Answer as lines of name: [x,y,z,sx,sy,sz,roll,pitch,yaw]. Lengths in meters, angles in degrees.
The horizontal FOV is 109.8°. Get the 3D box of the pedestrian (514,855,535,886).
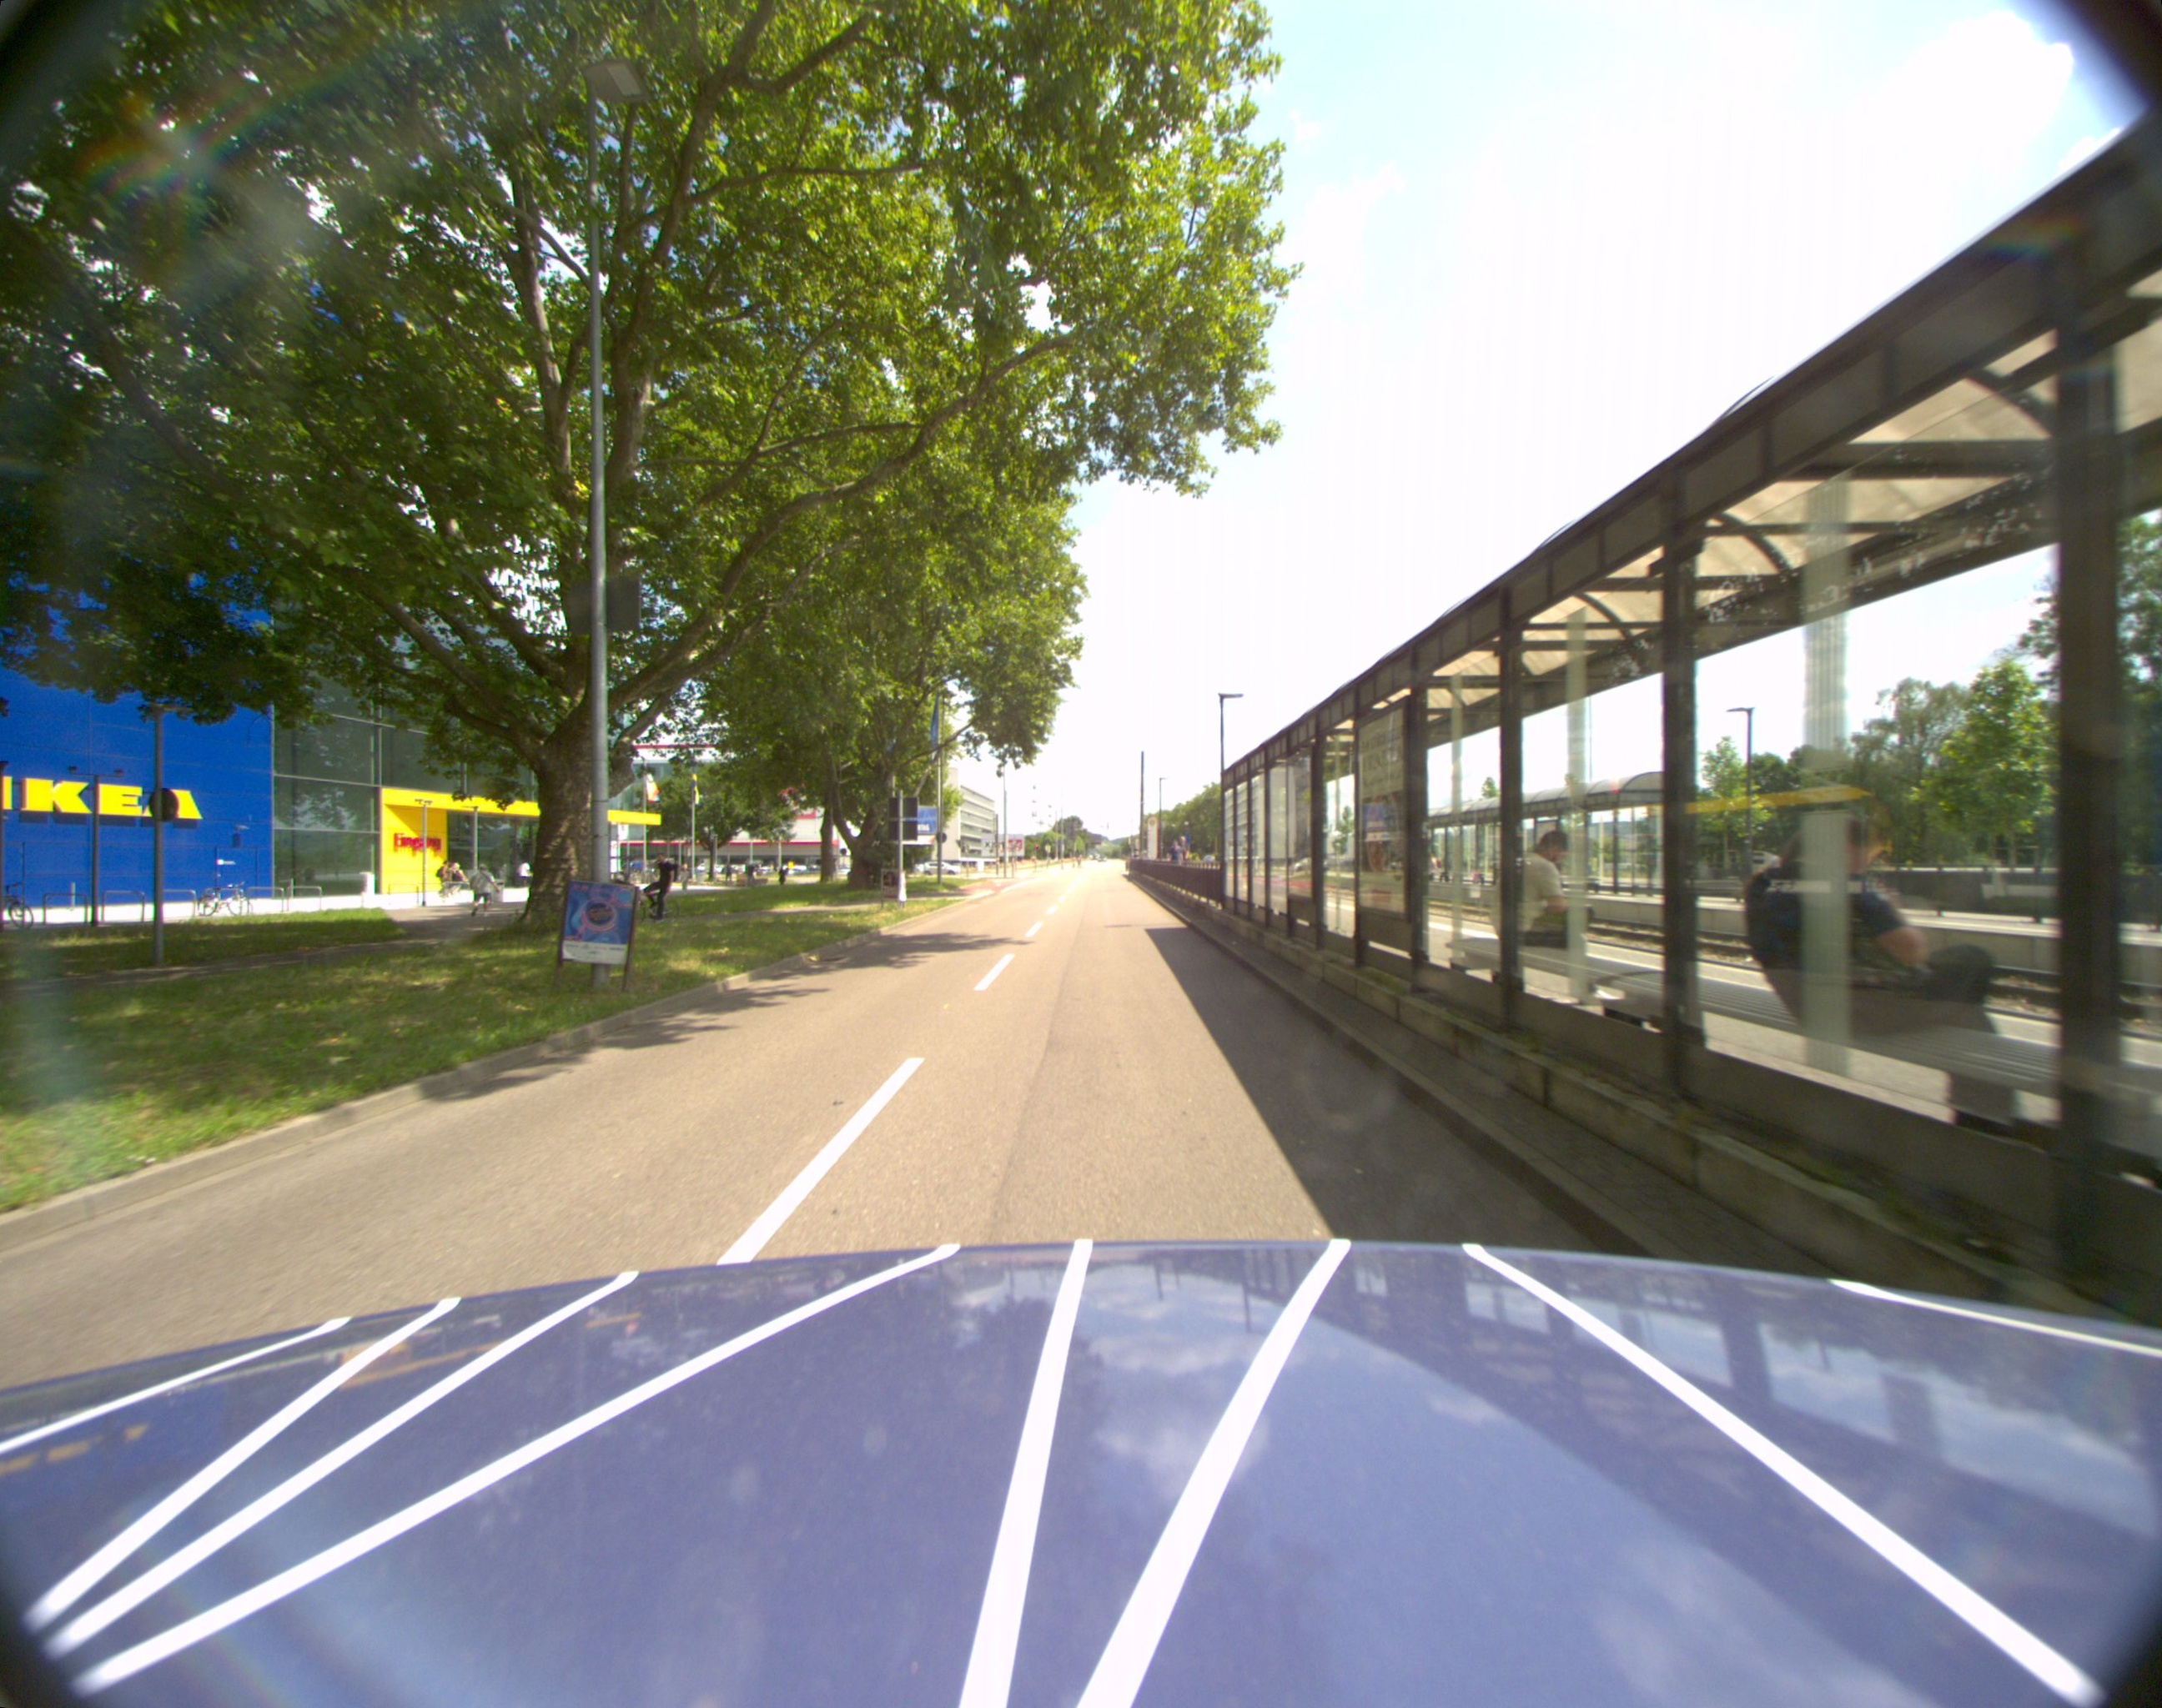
pedestrian: [-33.477,0.988,45.708,0.617,1.875,0.783,0,0,12]

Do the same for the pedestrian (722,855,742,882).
pedestrian: [-26.852,1.103,58.474,0.972,2.060,1.012,0,0,18]

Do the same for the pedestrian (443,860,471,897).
pedestrian: [-28.775,1.137,35.069,0.889,1.653,0.784,-1,-1,-33]

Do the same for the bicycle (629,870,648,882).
bicycle: [-36.221,1.780,62.239,0.464,0.989,1.868,-1,0,-1]

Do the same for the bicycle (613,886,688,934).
bicycle: [-10.826,1.388,19.202,0.621,0.993,2.023,-2,2,3]

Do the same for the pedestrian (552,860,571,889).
pedestrian: [-29.828,1.187,43.665,0.805,1.654,0.702,1,0,-27]

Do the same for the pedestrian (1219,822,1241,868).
pedestrian: [6.052,-0.356,30.881,0.735,1.797,0.930,-1,0,3]

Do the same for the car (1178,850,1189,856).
car: [23.362,-0.253,172.823,1.669,1.400,3.891,-1,0,-4]

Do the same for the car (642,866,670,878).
car: [-70.625,2.953,126.273,1.998,1.977,4.364,-1,-1,3]

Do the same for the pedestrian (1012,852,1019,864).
pedestrian: [-10.246,0.580,118.574,0.868,1.827,0.796,-2,3,-25]

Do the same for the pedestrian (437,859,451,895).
pedestrian: [-29.889,1.089,35.646,0.543,1.691,0.422,-2,-1,40]

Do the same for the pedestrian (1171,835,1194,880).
pedestrian: [4.492,0.152,33.670,0.875,1.927,0.994,-1,-1,2]

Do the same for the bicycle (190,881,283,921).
bicycle: [-26.326,1.439,23.688,2.523,1.169,0.695,0,0,10]

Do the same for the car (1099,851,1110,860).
car: [5.220,0.390,168.432,1.997,2.001,4.004,-1,-1,10]

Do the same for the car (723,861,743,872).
car: [-64.714,2.297,141.428,1.775,2.002,4.001,-1,0,3]

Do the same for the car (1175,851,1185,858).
car: [25.142,0.213,193.108,1.813,1.648,4.321,4,-1,-4]

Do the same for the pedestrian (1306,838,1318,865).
pedestrian: [15.184,-0.153,49.949,0.600,1.711,0.708,-1,-1,6]

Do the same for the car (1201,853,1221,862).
car: [24.346,0.651,142.599,1.886,1.763,4.661,-1,-1,-14]

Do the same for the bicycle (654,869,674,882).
bicycle: [-33.873,1.742,61.757,0.423,0.988,1.869,-1,-1,5]

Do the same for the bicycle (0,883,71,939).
bicycle: [-26.298,1.368,18.764,3.828,1.169,0.989,0,0,27]

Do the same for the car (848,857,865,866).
car: [-45.897,1.543,155.677,1.998,1.977,4.088,-1,-1,5]

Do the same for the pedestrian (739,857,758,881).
pedestrian: [-26.308,1.157,60.107,0.972,1.891,1.012,0,0,18]

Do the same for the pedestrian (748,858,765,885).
pedestrian: [-23.827,1.278,55.762,0.889,1.875,0.971,0,2,-43]

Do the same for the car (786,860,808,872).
car: [-48.478,1.986,129.766,1.998,1.977,4.364,-1,-1,3]

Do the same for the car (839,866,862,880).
car: [-34.477,2.785,113.855,1.998,1.977,4.364,-1,-1,3]

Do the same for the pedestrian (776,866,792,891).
pedestrian: [-19.750,1.633,50.455,0.719,1.653,0.593,2,-1,7]

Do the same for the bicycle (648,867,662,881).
bicycle: [-34.880,1.641,62.192,0.462,1.150,1.680,-1,-1,-11]

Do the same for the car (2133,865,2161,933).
car: [25.735,1.004,16.101,1.711,1.575,4.004,-1,-1,10]

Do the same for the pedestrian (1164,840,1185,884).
pedestrian: [3.808,0.322,30.870,0.735,1.745,0.930,-1,0,3]

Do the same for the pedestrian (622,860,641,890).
pedestrian: [-24.541,1.168,41.471,0.591,1.607,0.666,-2,0,-2]

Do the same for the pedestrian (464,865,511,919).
pedestrian: [-19.208,1.215,24.616,0.777,1.686,0.891,-1,0,2]

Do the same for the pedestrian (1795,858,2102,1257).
pedestrian: [2.959,0.643,2.631,0.499,1.245,0.469,-1,-1,-2]

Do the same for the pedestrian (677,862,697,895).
pedestrian: [-21.043,1.317,40.595,0.665,1.761,0.669,-1,0,5]

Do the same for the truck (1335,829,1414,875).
truck: [28.302,-0.189,74.039,2.950,4.080,11.996,-1,0,0]

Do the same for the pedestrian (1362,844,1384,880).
pedestrian: [14.839,0.410,38.625,0.735,1.797,0.930,-1,0,3]

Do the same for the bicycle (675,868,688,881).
bicycle: [-32.638,1.683,62.142,0.504,1.101,1.924,1,-2,-14]

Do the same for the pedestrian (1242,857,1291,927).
pedestrian: [3.262,0.660,13.399,0.695,1.183,0.642,-2,0,2]

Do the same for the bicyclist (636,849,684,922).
bicyclist: [-10.819,0.796,19.562,0.610,1.835,0.924,-2,0,3]

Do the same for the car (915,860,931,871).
car: [-30.062,2.244,144.878,1.998,1.977,4.364,-1,-1,3]

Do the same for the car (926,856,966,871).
car: [-14.207,1.032,79.975,3.830,1.461,1.900,-1,1,-1]
